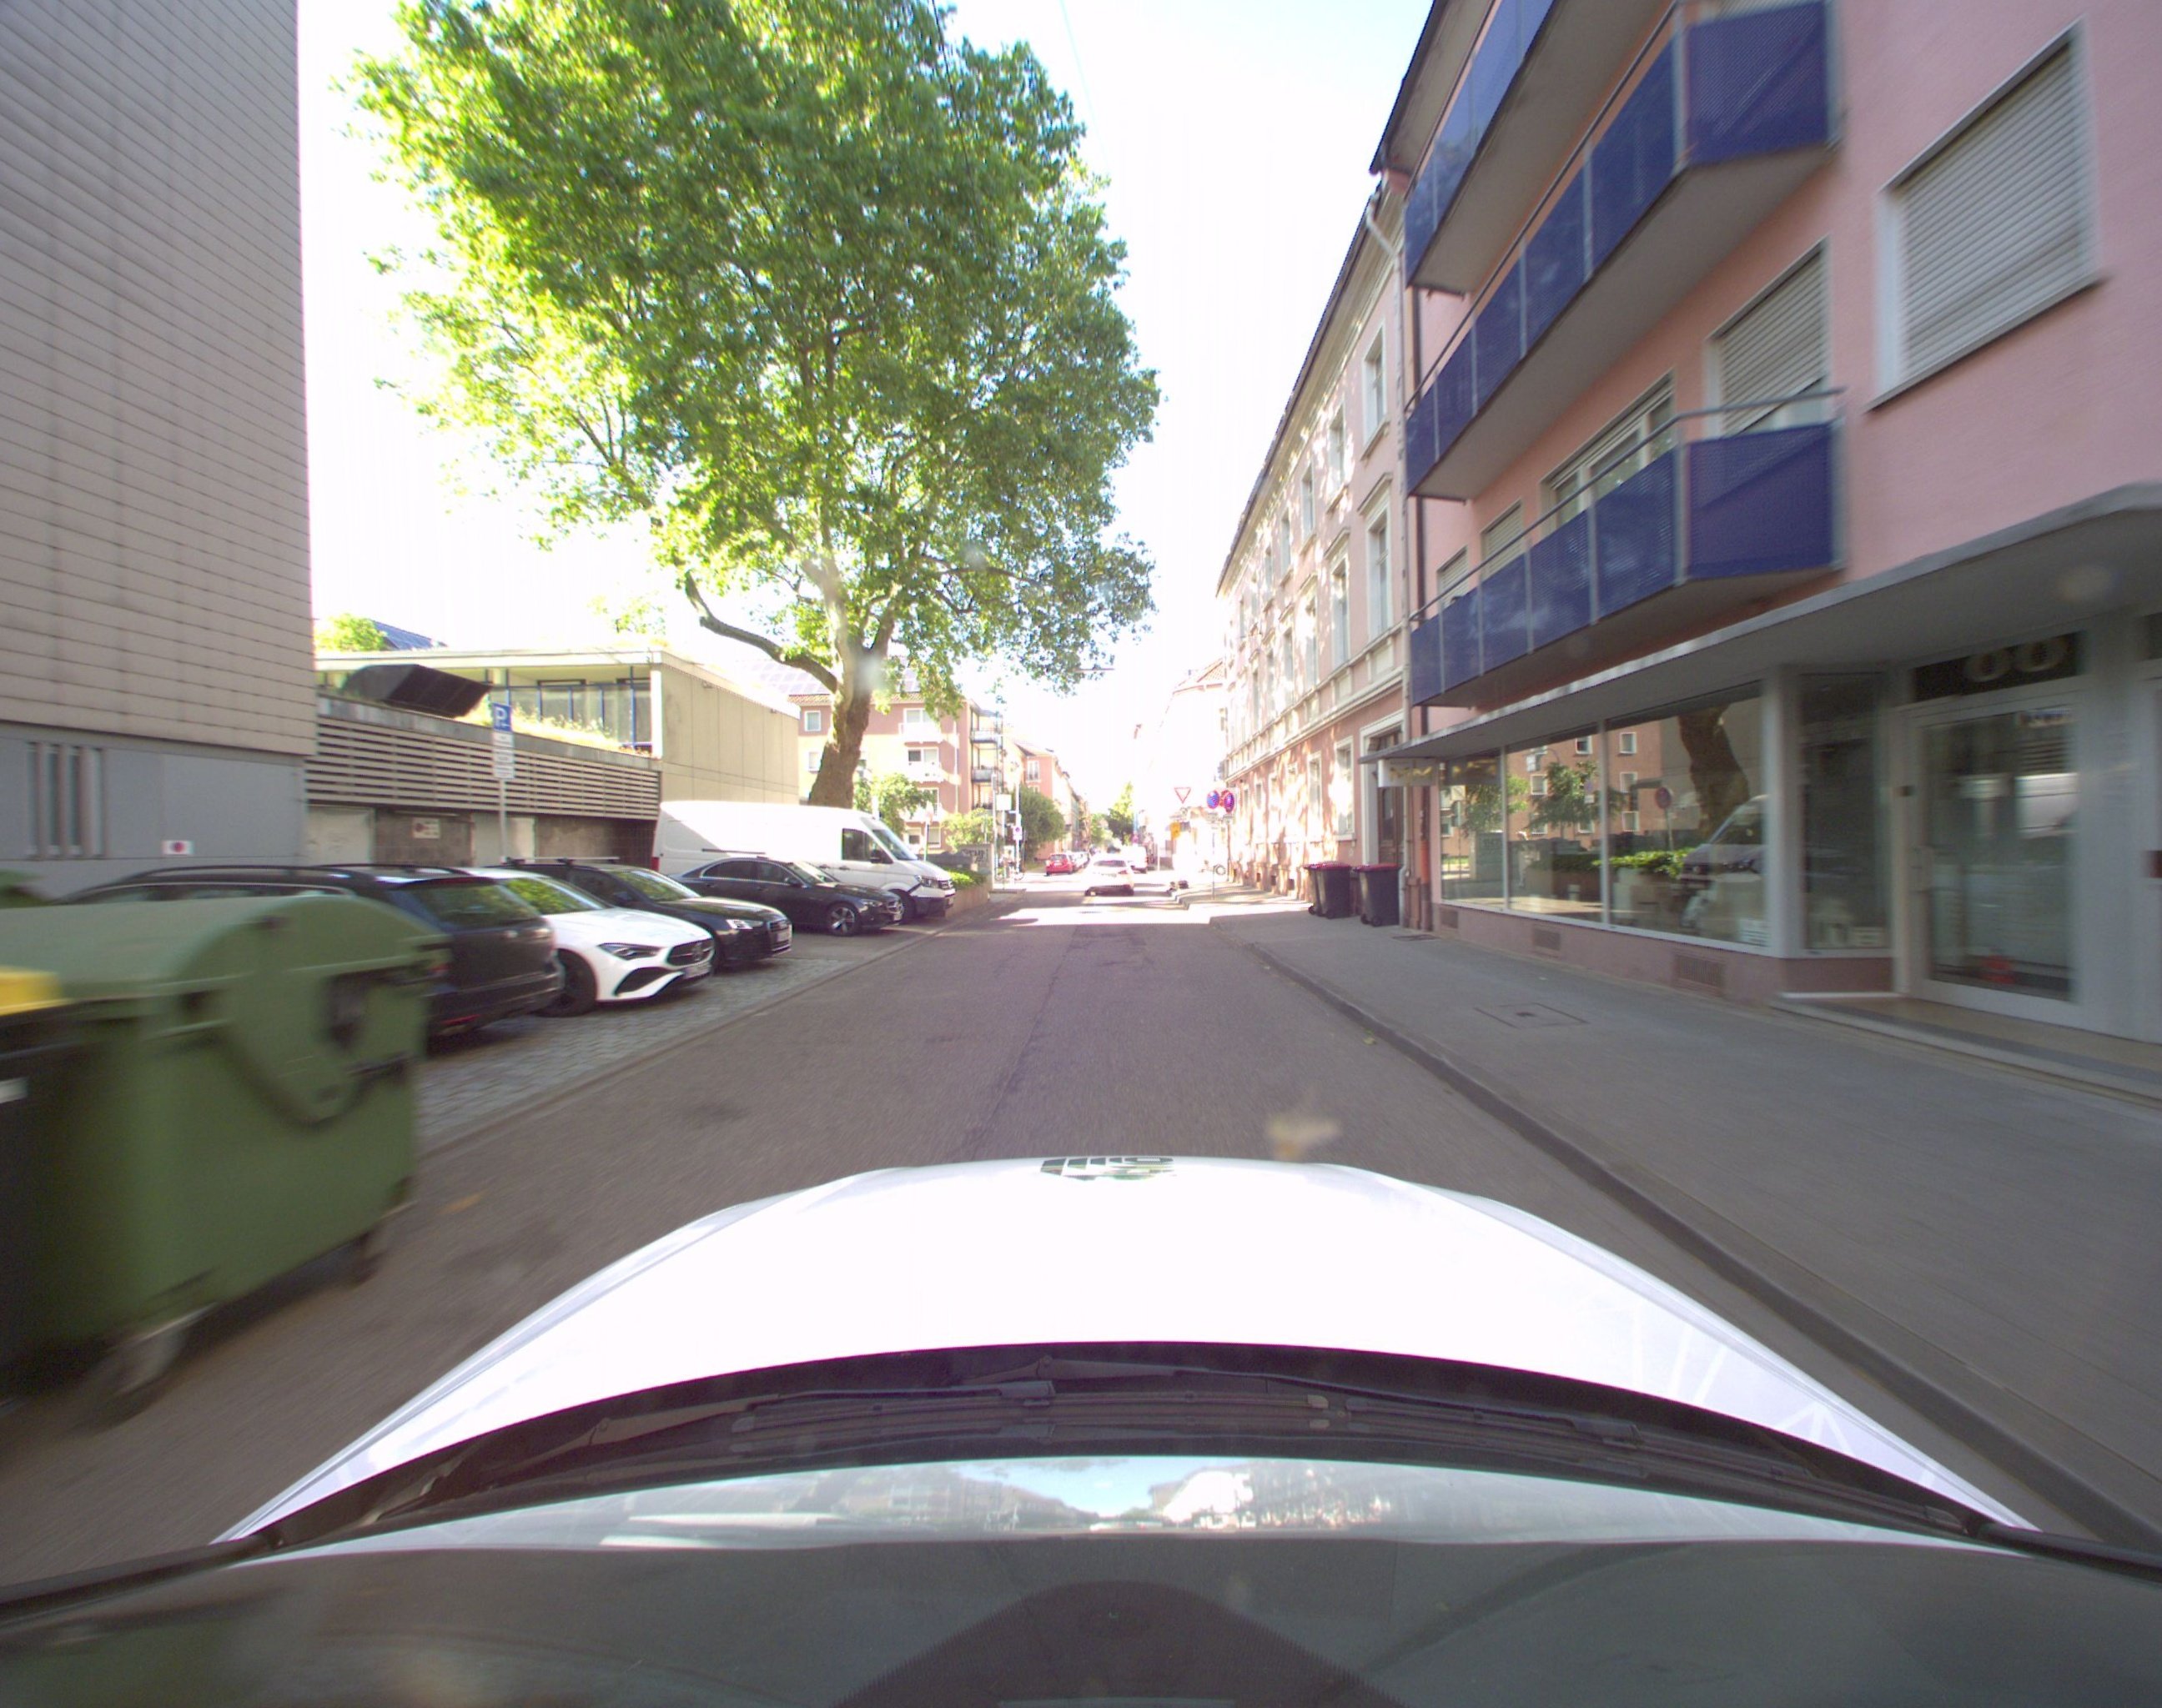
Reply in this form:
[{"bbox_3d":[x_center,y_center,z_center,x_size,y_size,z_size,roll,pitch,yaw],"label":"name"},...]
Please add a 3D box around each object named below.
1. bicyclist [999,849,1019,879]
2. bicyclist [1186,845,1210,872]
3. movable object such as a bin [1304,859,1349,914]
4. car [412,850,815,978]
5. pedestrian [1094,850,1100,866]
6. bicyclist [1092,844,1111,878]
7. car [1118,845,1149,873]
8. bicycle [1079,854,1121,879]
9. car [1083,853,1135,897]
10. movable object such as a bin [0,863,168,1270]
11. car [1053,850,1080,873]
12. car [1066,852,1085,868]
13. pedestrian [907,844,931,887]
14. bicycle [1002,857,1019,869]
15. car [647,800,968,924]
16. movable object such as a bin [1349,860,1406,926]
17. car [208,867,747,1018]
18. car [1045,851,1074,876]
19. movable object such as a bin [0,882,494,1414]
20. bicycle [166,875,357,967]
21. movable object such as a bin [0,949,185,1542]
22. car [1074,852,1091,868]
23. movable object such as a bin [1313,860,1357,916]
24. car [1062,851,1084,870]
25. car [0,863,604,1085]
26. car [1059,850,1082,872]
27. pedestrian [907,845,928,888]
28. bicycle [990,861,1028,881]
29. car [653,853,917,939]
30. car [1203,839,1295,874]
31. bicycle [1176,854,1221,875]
[{"bbox_3d":[-3.800,0.538,43.026,0.979,1.553,0.761,-2,-1,1],"label":"bicyclist"},{"bbox_3d":[6.564,0.253,45.631,1.187,1.516,0.844,-2,-1,15],"label":"bicyclist"},{"bbox_3d":[5.055,0.665,16.801,0.742,1.086,0.635,-2,-1,3],"label":"movable object such as a bin"},{"bbox_3d":[-6.254,0.774,11.329,4.452,1.610,1.915,0,-1,-1],"label":"car"},{"bbox_3d":[1.858,0.439,93.168,0.644,1.797,0.639,-2,-1,3],"label":"pedestrian"},{"bbox_3d":[1.095,0.371,42.851,0.920,1.720,0.943,-2,-1,4],"label":"bicyclist"},{"bbox_3d":[3.726,0.322,58.831,1.936,1.948,4.077,0,0,0],"label":"car"},{"bbox_3d":[1.014,0.652,42.812,2.154,1.255,0.834,-2,-1,3],"label":"bicycle"},{"bbox_3d":[1.048,0.743,30.776,1.817,1.514,3.825,-1,0,1],"label":"car"},{"bbox_3d":[-4.814,0.823,3.111,1.350,1.549,1.119,-1,-1,-4],"label":"movable object such as a bin"},{"bbox_3d":[-1.043,0.558,61.340,1.713,1.682,3.728,-2,0,3],"label":"car"},{"bbox_3d":[-0.515,0.603,77.652,1.595,1.477,3.570,-2,-1,3],"label":"car"},{"bbox_3d":[-7.179,0.508,36.028,0.967,1.839,0.679,1,-1,-13],"label":"pedestrian"},{"bbox_3d":[-5.830,0.775,67.158,0.607,0.932,1.896,-1,-1,-31],"label":"bicycle"},{"bbox_3d":[-6.237,0.177,19.085,6.710,2.555,2.148,2,-1,3],"label":"car"},{"bbox_3d":[5.164,0.660,14.219,0.727,1.104,0.693,-2,-1,0],"label":"movable object such as a bin"},{"bbox_3d":[-6.194,0.861,8.796,4.326,1.425,1.958,0,-1,1],"label":"car"},{"bbox_3d":[-1.441,0.615,55.747,1.763,1.588,3.727,-2,1,1],"label":"car"},{"bbox_3d":[-3.110,0.847,2.845,1.297,1.451,1.117,-1,-1,-2],"label":"movable object such as a bin"},{"bbox_3d":[-11.535,0.891,11.579,0.607,1.124,2.039,0,1,2],"label":"bicycle"},{"bbox_3d":[-3.119,0.930,1.745,1.236,1.322,1.046,-1,-1,1],"label":"movable object such as a bin"},{"bbox_3d":[0.170,0.649,87.951,1.566,1.585,3.613,-2,-1,3],"label":"car"},{"bbox_3d":[5.031,0.668,16.169,0.698,1.073,0.597,-2,-1,3],"label":"movable object such as a bin"},{"bbox_3d":[-0.704,0.576,73.641,1.713,1.576,3.728,-2,-1,3],"label":"car"},{"bbox_3d":[-6.342,0.850,6.583,3.862,1.505,1.827,-1,-1,1],"label":"car"},{"bbox_3d":[-0.839,0.563,66.853,1.629,1.656,3.787,-1,-1,3],"label":"car"},{"bbox_3d":[-7.040,0.528,35.109,0.853,1.815,0.811,1,-1,-11],"label":"pedestrian"},{"bbox_3d":[-3.806,0.910,43.026,1.921,0.986,0.663,-2,-1,-1],"label":"bicycle"},{"bbox_3d":[-5.773,0.776,16.269,4.481,1.470,1.931,2,0,3],"label":"car"},{"bbox_3d":[9.772,0.199,47.340,4.844,1.929,2.012,-1,-2,26],"label":"car"},{"bbox_3d":[6.582,0.587,45.640,2.407,1.080,0.793,-2,-1,15],"label":"bicycle"}]
